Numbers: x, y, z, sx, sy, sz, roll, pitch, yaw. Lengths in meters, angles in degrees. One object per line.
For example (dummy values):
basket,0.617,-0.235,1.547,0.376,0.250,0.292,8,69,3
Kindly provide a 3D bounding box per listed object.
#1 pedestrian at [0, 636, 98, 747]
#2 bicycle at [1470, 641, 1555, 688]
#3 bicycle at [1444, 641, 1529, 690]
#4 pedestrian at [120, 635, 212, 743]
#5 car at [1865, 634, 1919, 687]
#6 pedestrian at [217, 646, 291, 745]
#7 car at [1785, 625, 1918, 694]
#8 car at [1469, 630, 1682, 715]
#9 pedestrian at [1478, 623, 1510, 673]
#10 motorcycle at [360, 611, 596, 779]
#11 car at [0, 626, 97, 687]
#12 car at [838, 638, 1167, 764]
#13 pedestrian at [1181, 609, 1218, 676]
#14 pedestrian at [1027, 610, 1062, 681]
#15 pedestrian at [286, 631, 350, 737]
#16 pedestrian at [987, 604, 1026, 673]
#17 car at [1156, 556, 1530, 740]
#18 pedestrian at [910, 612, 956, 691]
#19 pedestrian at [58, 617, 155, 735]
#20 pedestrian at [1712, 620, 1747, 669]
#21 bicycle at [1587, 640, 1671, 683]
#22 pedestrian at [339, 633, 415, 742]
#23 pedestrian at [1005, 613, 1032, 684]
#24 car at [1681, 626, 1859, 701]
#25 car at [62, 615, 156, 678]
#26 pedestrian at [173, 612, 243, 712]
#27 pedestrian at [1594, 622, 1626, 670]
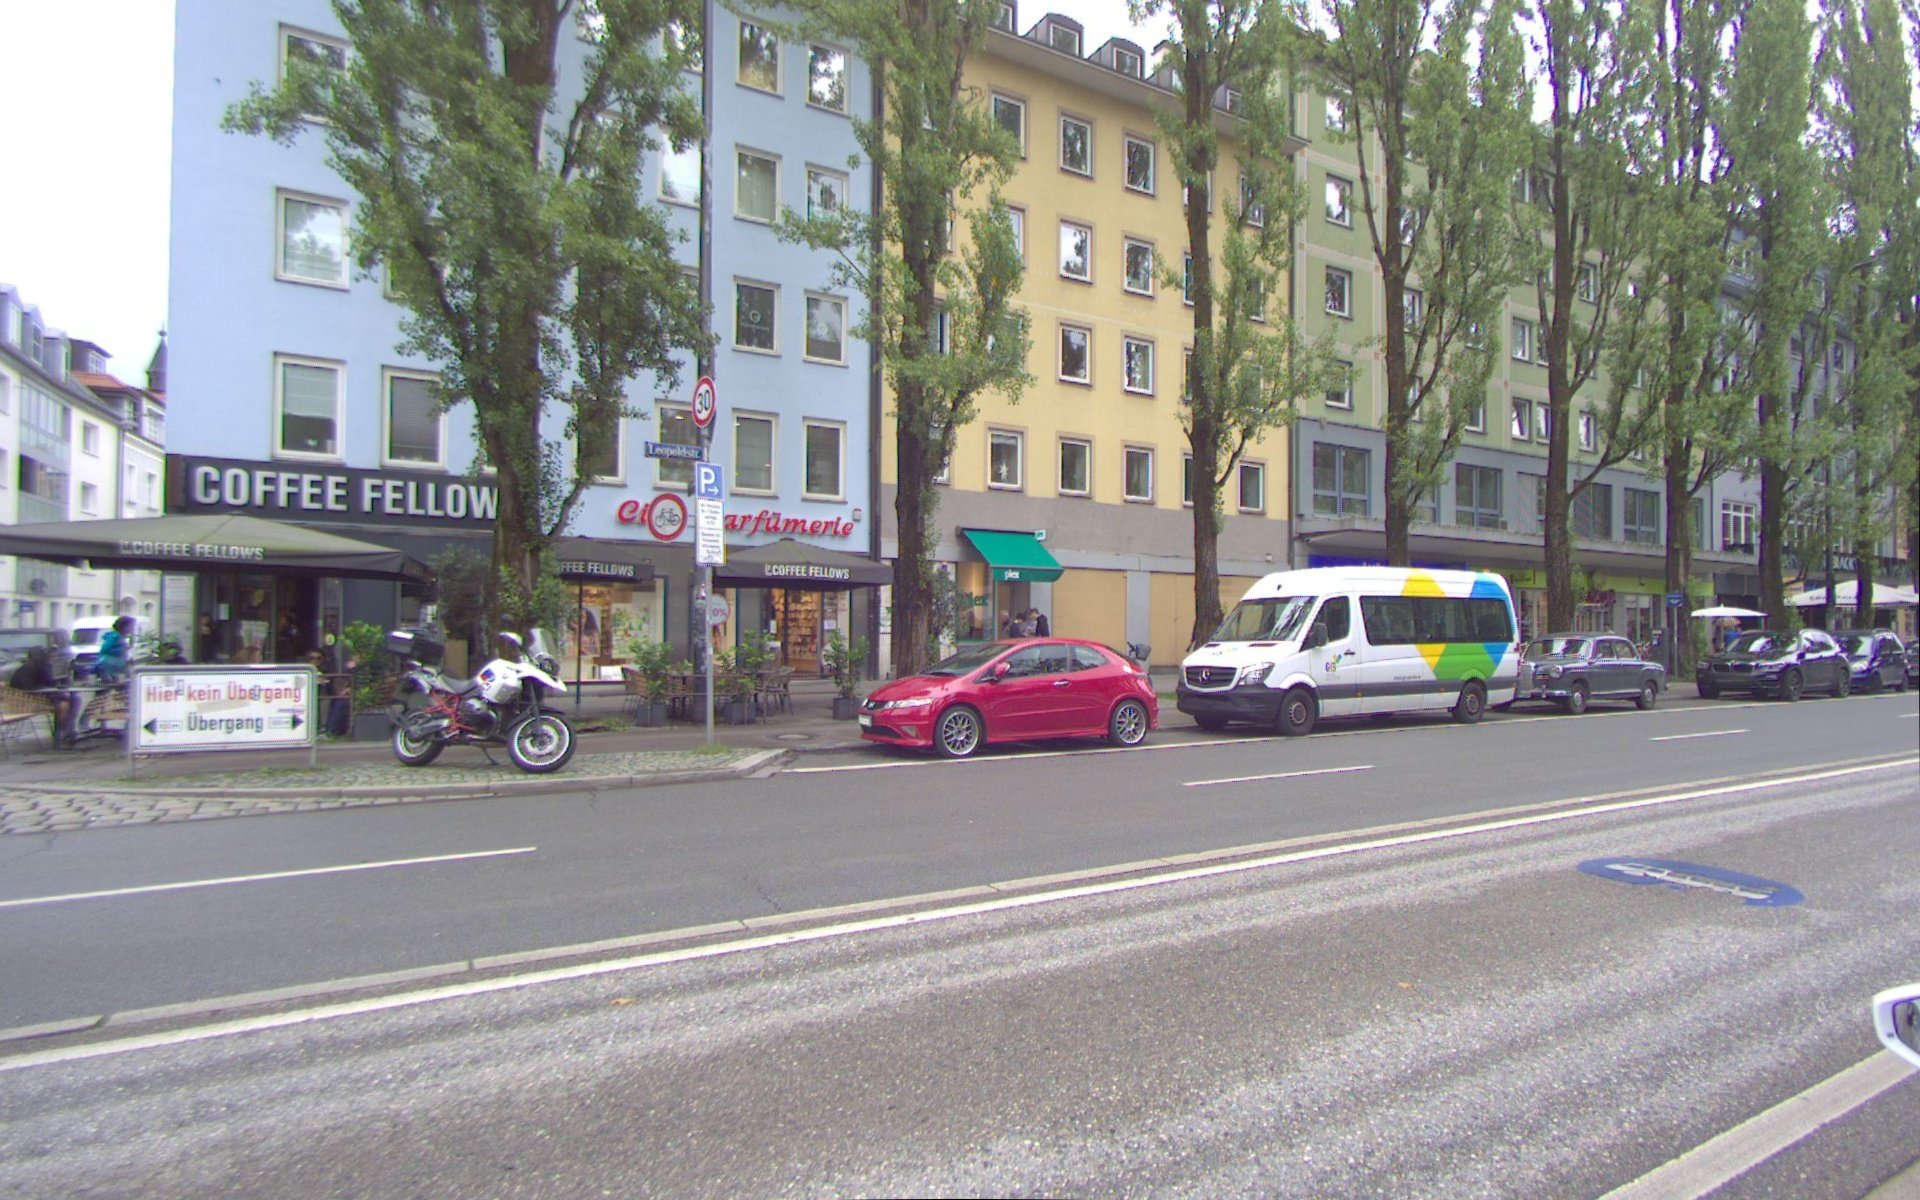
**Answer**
pedestrian,-11.846,1.152,12.948,0.938,1.380,0.695,1,-2,-27
bicycle,14.612,1.687,26.617,0.710,1.110,1.862,1,1,-27
bicycle,13.592,1.669,25.977,0.710,1.110,1.862,1,1,-27
pedestrian,-10.595,1.161,13.432,0.808,1.380,0.695,1,-2,-27
car,29.039,1.771,29.950,4.299,1.508,1.790,1,-3,-30
pedestrian,-9.000,1.198,12.838,0.692,1.198,0.811,1,-2,-31
car,24.245,1.589,27.301,3.880,1.743,1.700,1,-3,-33
car,12.550,1.421,20.431,4.362,1.572,1.858,1,-3,-30
pedestrian,18.565,1.672,34.919,0.749,1.708,0.670,2,-2,-29
motorcycle,-4.952,0.916,10.315,2.301,1.584,0.715,1,0,18
car,-29.429,1.792,31.967,2.093,1.789,4.551,1,-3,-30
car,0.612,1.240,13.331,4.099,1.438,1.729,1,-3,-30
pedestrian,6.598,1.176,27.709,0.717,1.818,0.695,1,-2,-25
pedestrian,1.995,1.063,23.693,0.713,1.657,0.699,0,-1,-6
pedestrian,-8.679,1.110,13.602,0.692,1.380,0.709,1,-2,-32
pedestrian,1.143,0.946,24.778,0.718,1.657,0.695,1,-2,-28
car,6.557,0.781,16.791,6.831,2.601,1.996,1,-3,-30
pedestrian,-0.607,1.121,22.181,0.775,1.708,0.753,1,-2,-27
pedestrian,-12.494,1.086,14.733,0.939,1.668,0.694,1,-2,-31
pedestrian,27.107,1.576,35.379,0.667,1.708,0.753,2,-2,-29
bicycle,19.901,1.806,29.913,0.712,1.110,1.933,1,1,-36
pedestrian,-7.718,1.132,13.312,0.838,1.380,0.694,1,-2,-31
pedestrian,1.381,1.145,23.866,0.553,1.657,0.699,0,-1,-6
car,19.739,1.505,24.433,4.557,1.686,1.858,1,-3,-30
car,-34.279,1.880,40.586,1.959,2.396,4.554,1,-3,-29
pedestrian,-13.908,1.138,18.590,0.933,1.796,0.699,-1,-2,30
pedestrian,23.768,1.681,36.753,0.667,1.708,0.753,2,-2,-29
